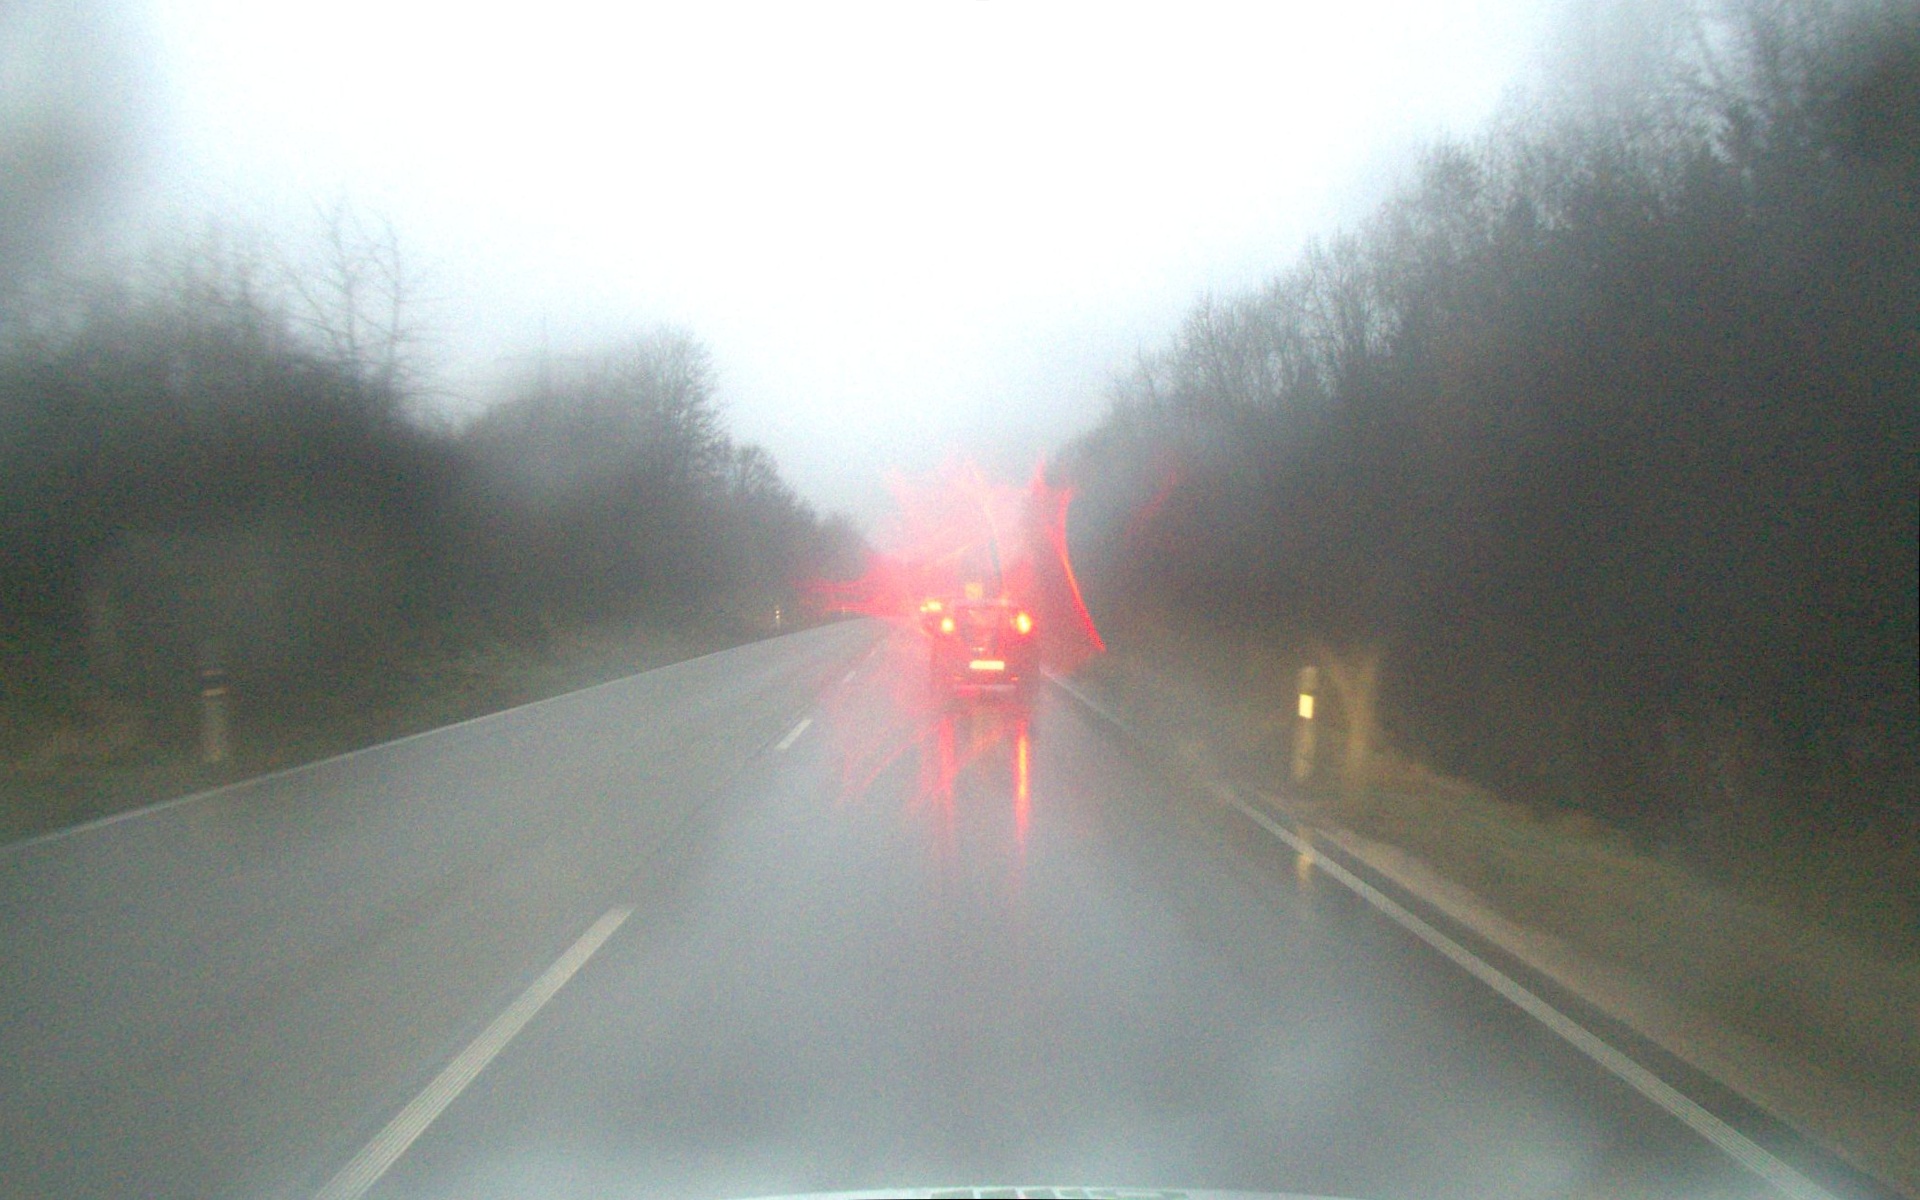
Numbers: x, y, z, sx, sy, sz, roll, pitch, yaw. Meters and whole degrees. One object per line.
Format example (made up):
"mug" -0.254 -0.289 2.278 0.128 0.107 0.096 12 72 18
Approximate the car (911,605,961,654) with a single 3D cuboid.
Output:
"car" -0.822 1.029 59.487 1.692 1.672 4.000 1 0 0

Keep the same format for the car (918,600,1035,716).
"car" 0.251 0.860 26.242 1.692 1.672 4.000 1 0 0
